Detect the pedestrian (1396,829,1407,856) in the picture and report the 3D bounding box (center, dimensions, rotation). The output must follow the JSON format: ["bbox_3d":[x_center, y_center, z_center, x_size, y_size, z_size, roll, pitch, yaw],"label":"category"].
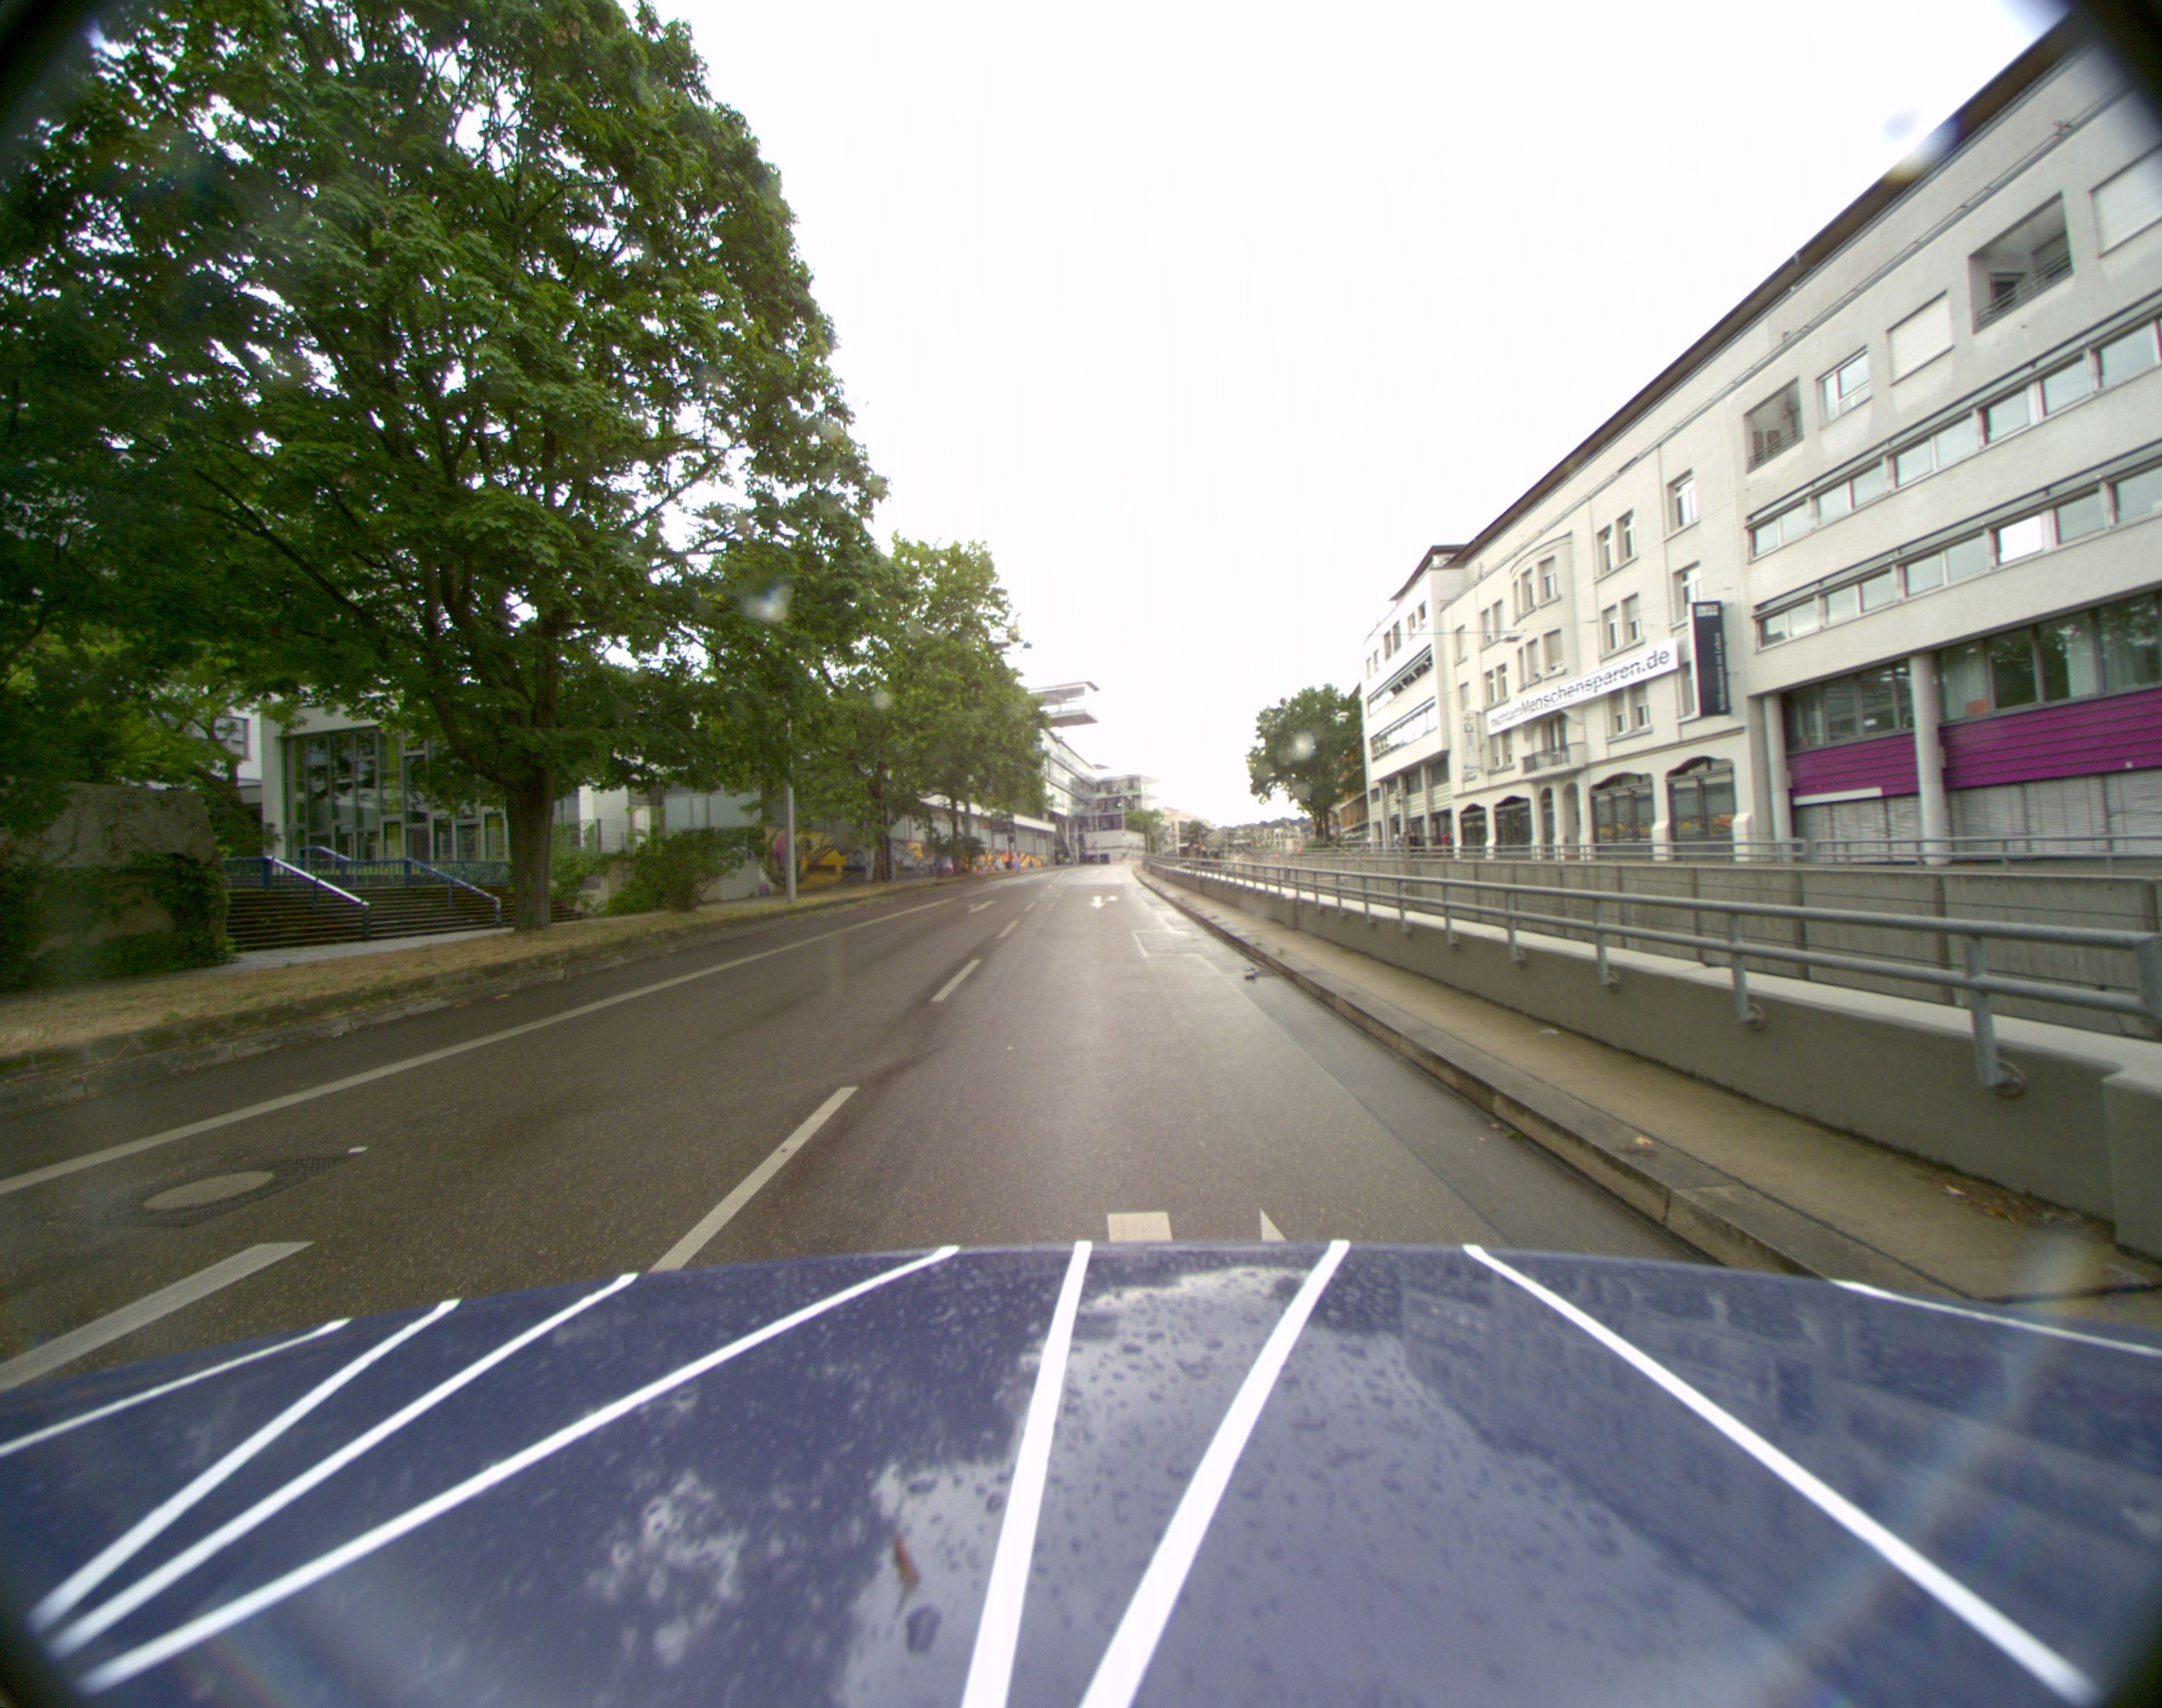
[{"bbox_3d":[21.698,-0.805,51.411,0.469,1.792,0.548,-4,1,8],"label":"pedestrian"}]

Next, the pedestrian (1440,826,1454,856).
[{"bbox_3d":[22.824,-0.797,47.363,0.470,1.792,0.547,-4,1,0],"label":"pedestrian"}]

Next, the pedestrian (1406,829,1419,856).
[{"bbox_3d":[22.479,-0.778,51.565,0.547,1.792,0.470,-4,1,-7],"label":"pedestrian"}]

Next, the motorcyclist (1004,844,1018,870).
[{"bbox_3d":[-5.541,0.225,60.212,0.754,2.002,1.002,-4,1,9],"label":"motorcyclist"}]

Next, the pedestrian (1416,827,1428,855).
[{"bbox_3d":[22.570,-0.853,50.303,0.470,1.792,0.547,-4,1,3],"label":"pedestrian"}]
